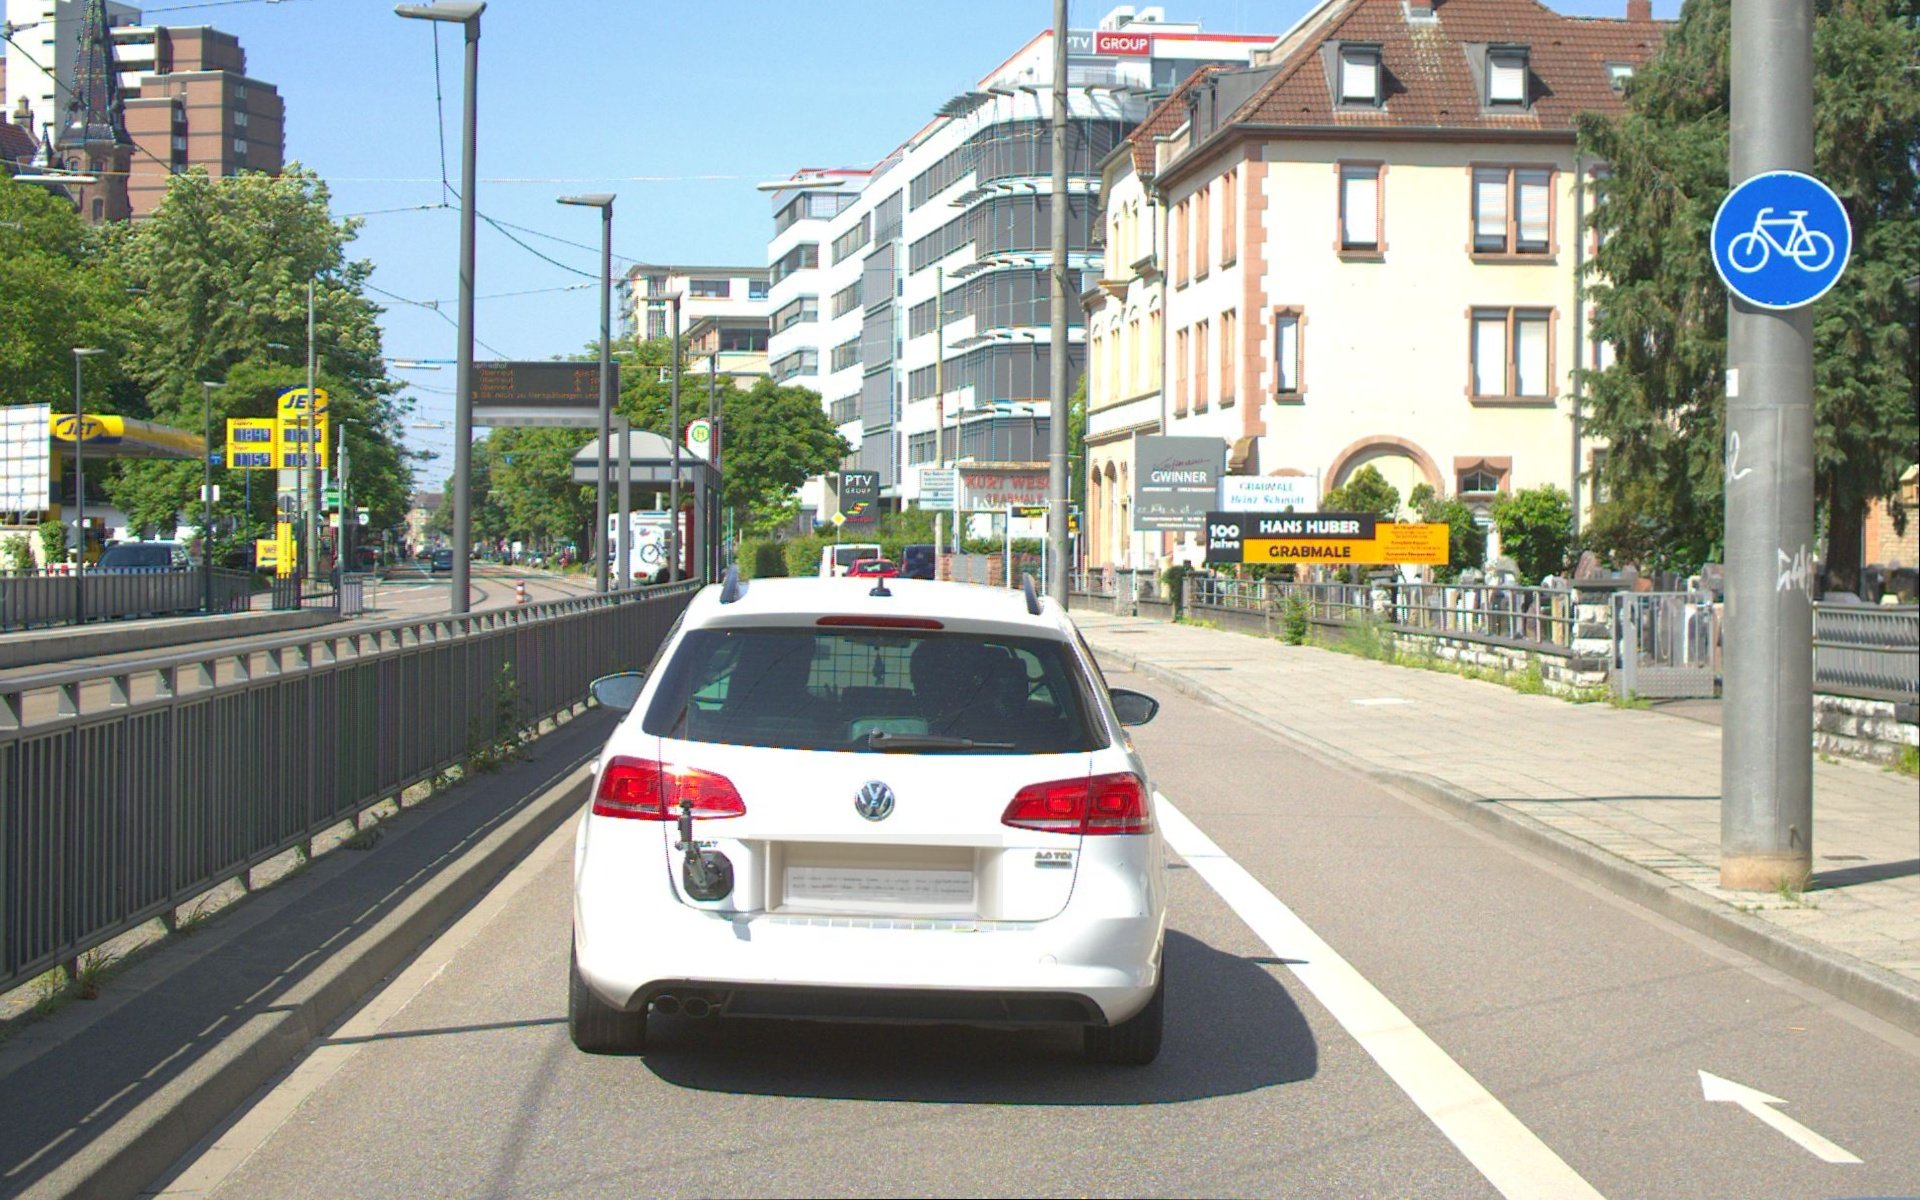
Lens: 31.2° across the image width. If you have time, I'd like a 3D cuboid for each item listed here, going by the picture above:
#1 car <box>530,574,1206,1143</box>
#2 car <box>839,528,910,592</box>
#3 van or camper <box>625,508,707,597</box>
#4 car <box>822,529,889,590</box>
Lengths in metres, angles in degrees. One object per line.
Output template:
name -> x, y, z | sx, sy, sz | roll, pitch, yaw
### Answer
car -> -0.276, 0.682, 11.170 | 1.752, 1.413, 3.853 | 3, 1, -1
car -> -2.792, -1.308, 111.070 | 1.993, 2.007, 4.001 | 0, 1, -6
van or camper -> -10.810, -1.768, 126.888 | 2.943, 3.169, 6.614 | 0, 1, -4
car -> -3.568, -1.395, 116.482 | 1.993, 2.007, 4.001 | 0, 1, -6
